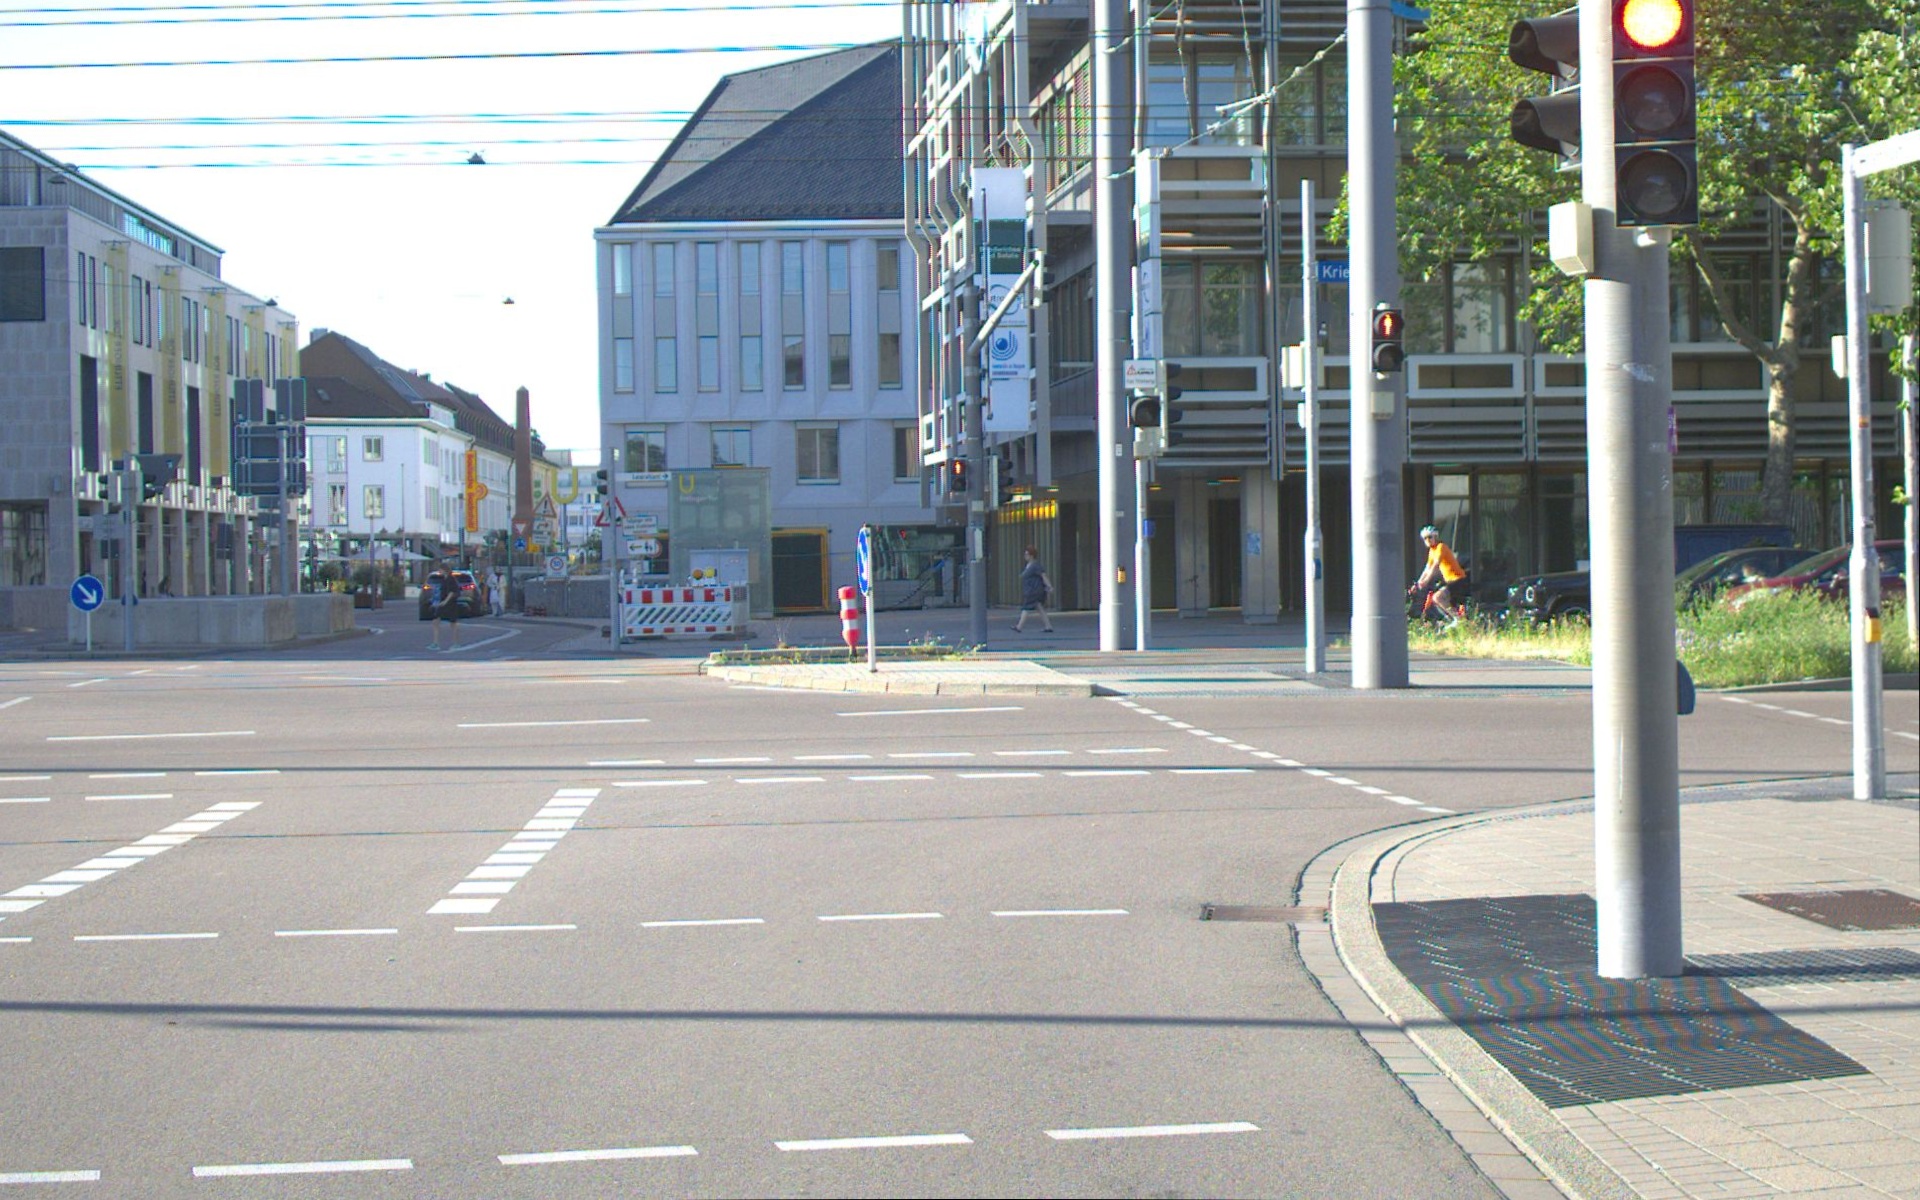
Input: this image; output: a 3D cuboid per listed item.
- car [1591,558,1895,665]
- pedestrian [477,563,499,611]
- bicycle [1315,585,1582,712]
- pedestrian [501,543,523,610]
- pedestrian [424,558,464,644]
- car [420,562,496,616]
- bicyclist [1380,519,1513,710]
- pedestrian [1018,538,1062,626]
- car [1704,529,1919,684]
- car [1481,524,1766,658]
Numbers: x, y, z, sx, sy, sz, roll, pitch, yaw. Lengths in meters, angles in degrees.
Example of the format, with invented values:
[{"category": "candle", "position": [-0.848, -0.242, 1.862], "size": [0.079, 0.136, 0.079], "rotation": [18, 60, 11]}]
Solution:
[{"category": "car", "position": [11.496, 0.155, 50.658], "size": [3.986, 1.503, 1.868], "rotation": [0, 1, -3]}, {"category": "pedestrian", "position": [-14.222, -0.396, 103.632], "size": [0.609, 1.406, 0.570], "rotation": [-1, 1, -6]}, {"category": "bicycle", "position": [6.696, 0.647, 47.143], "size": [3.490, 1.653, 0.932], "rotation": [-1, 1, -9]}, {"category": "pedestrian", "position": [-13.498, -0.711, 103.619], "size": [0.609, 2.007, 0.570], "rotation": [-1, 1, -6]}, {"category": "pedestrian", "position": [-9.956, 0.012, 66.359], "size": [0.663, 1.652, 0.755], "rotation": [-1, 1, -3]}, {"category": "car", "position": [-15.807, -0.359, 108.418], "size": [2.199, 1.601, 4.327], "rotation": [-1, 1, -6]}, {"category": "bicyclist", "position": [6.664, 0.187, 47.137], "size": [1.567, 2.571, 0.932], "rotation": [-1, 1, -9]}, {"category": "pedestrian", "position": [1.519, -0.347, 65.359], "size": [0.729, 1.652, 0.651], "rotation": [-1, 1, -7]}, {"category": "car", "position": [12.290, 0.085, 46.406], "size": [3.986, 2.007, 2.000], "rotation": [1, 0, -3]}, {"category": "car", "position": [10.347, -0.146, 53.774], "size": [3.986, 2.007, 2.000], "rotation": [1, 0, -3]}]
